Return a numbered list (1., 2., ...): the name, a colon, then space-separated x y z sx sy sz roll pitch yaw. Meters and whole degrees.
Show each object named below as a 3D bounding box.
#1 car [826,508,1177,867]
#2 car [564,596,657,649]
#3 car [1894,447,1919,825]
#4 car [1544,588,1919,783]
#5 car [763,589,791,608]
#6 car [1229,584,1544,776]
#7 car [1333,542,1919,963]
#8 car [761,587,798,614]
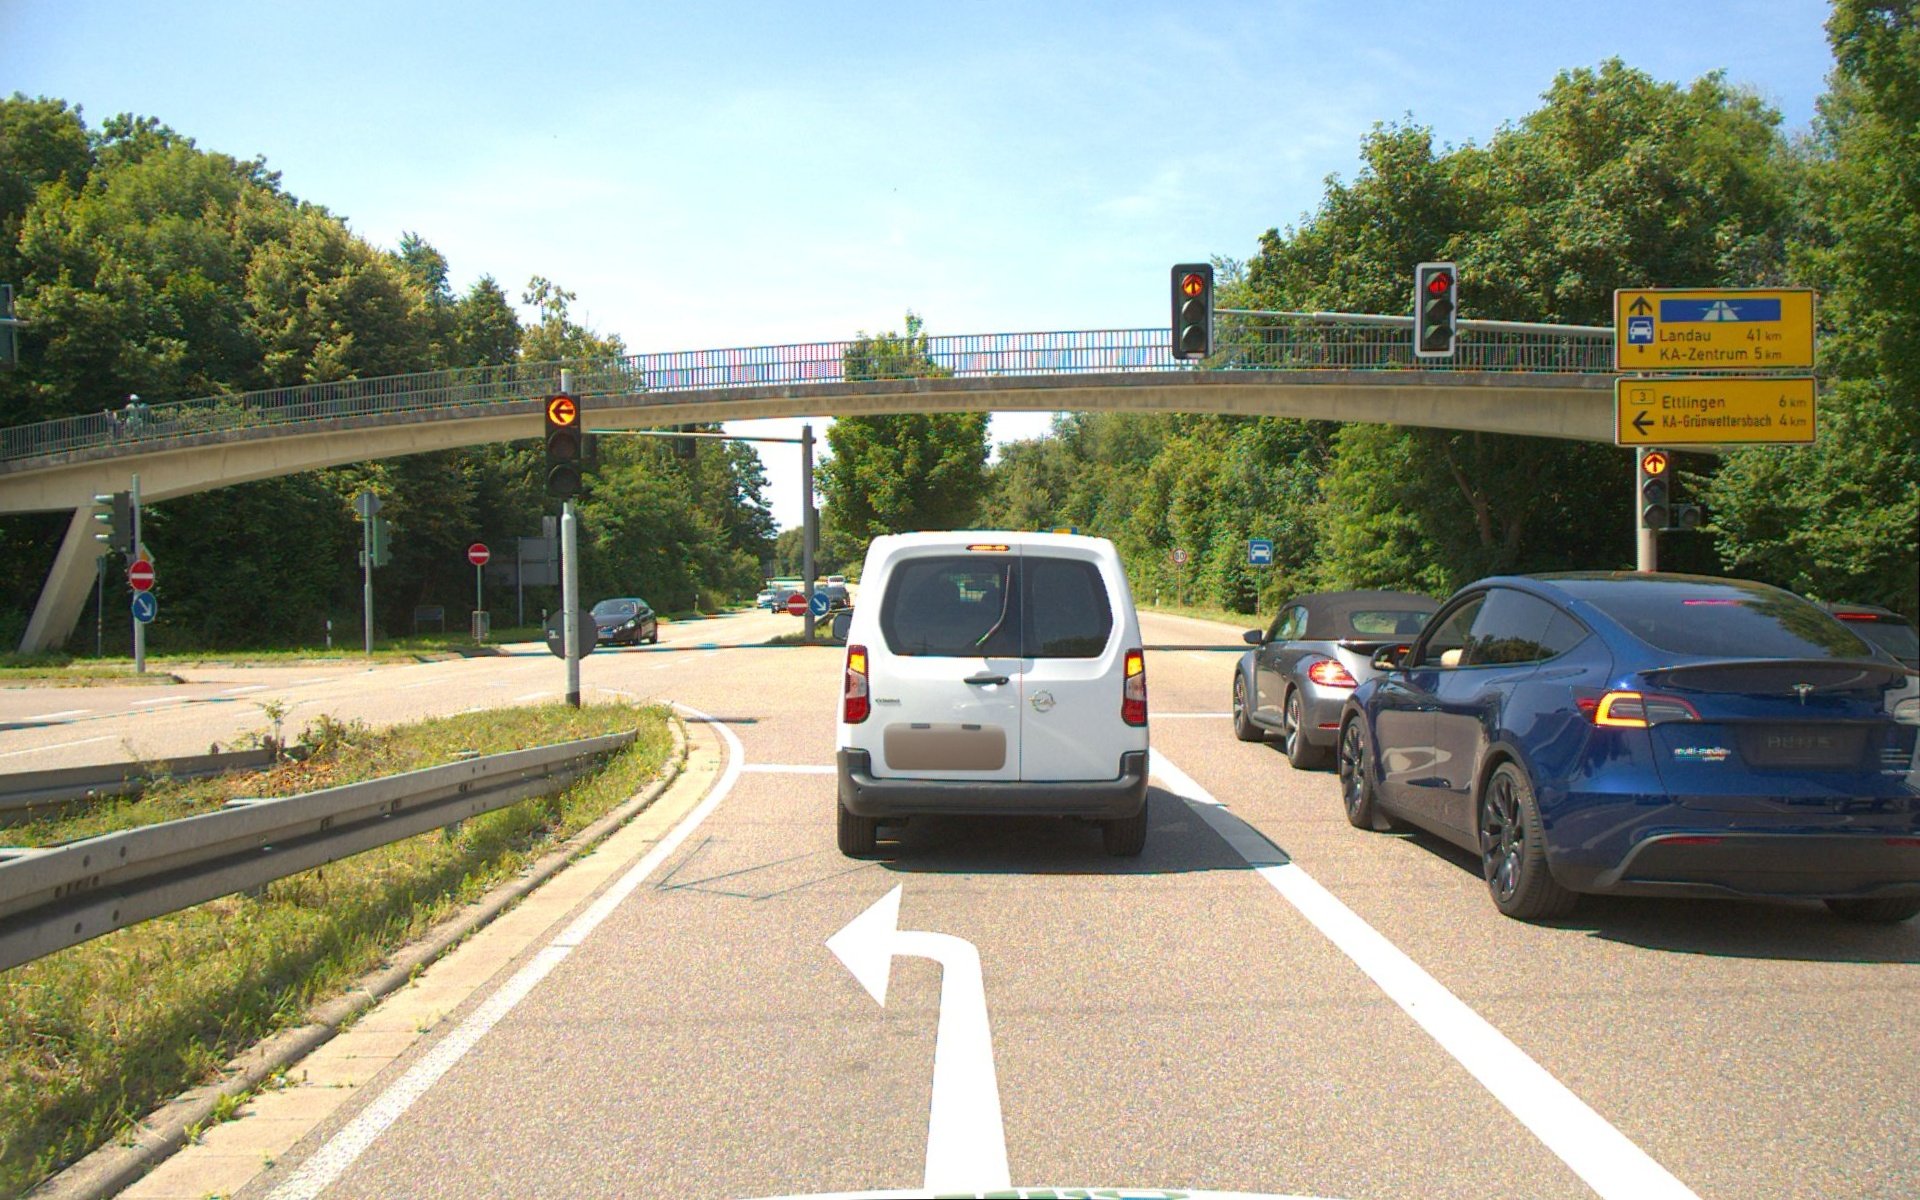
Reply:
1. car: 0.195 0.421 10.639 1.811 1.857 3.981 1 1 -1
2. car: -10.745 0.654 51.168 1.967 1.486 4.055 -2 0 0
3. car: 7.015 0.255 8.176 1.893 2.390 5.075 1 0 0
4. car: 7.077 0.661 15.205 1.861 1.503 4.380 1 1 0
5. car: -14.301 -0.139 129.334 1.717 1.431 4.000 -1 1 0
6. car: 3.724 0.621 15.164 1.861 1.503 3.939 1 1 0
7. car: 3.447 0.595 8.900 1.861 1.673 4.520 1 1 0
8. car: -11.721 0.012 107.567 1.953 1.694 4.000 -1 1 0
